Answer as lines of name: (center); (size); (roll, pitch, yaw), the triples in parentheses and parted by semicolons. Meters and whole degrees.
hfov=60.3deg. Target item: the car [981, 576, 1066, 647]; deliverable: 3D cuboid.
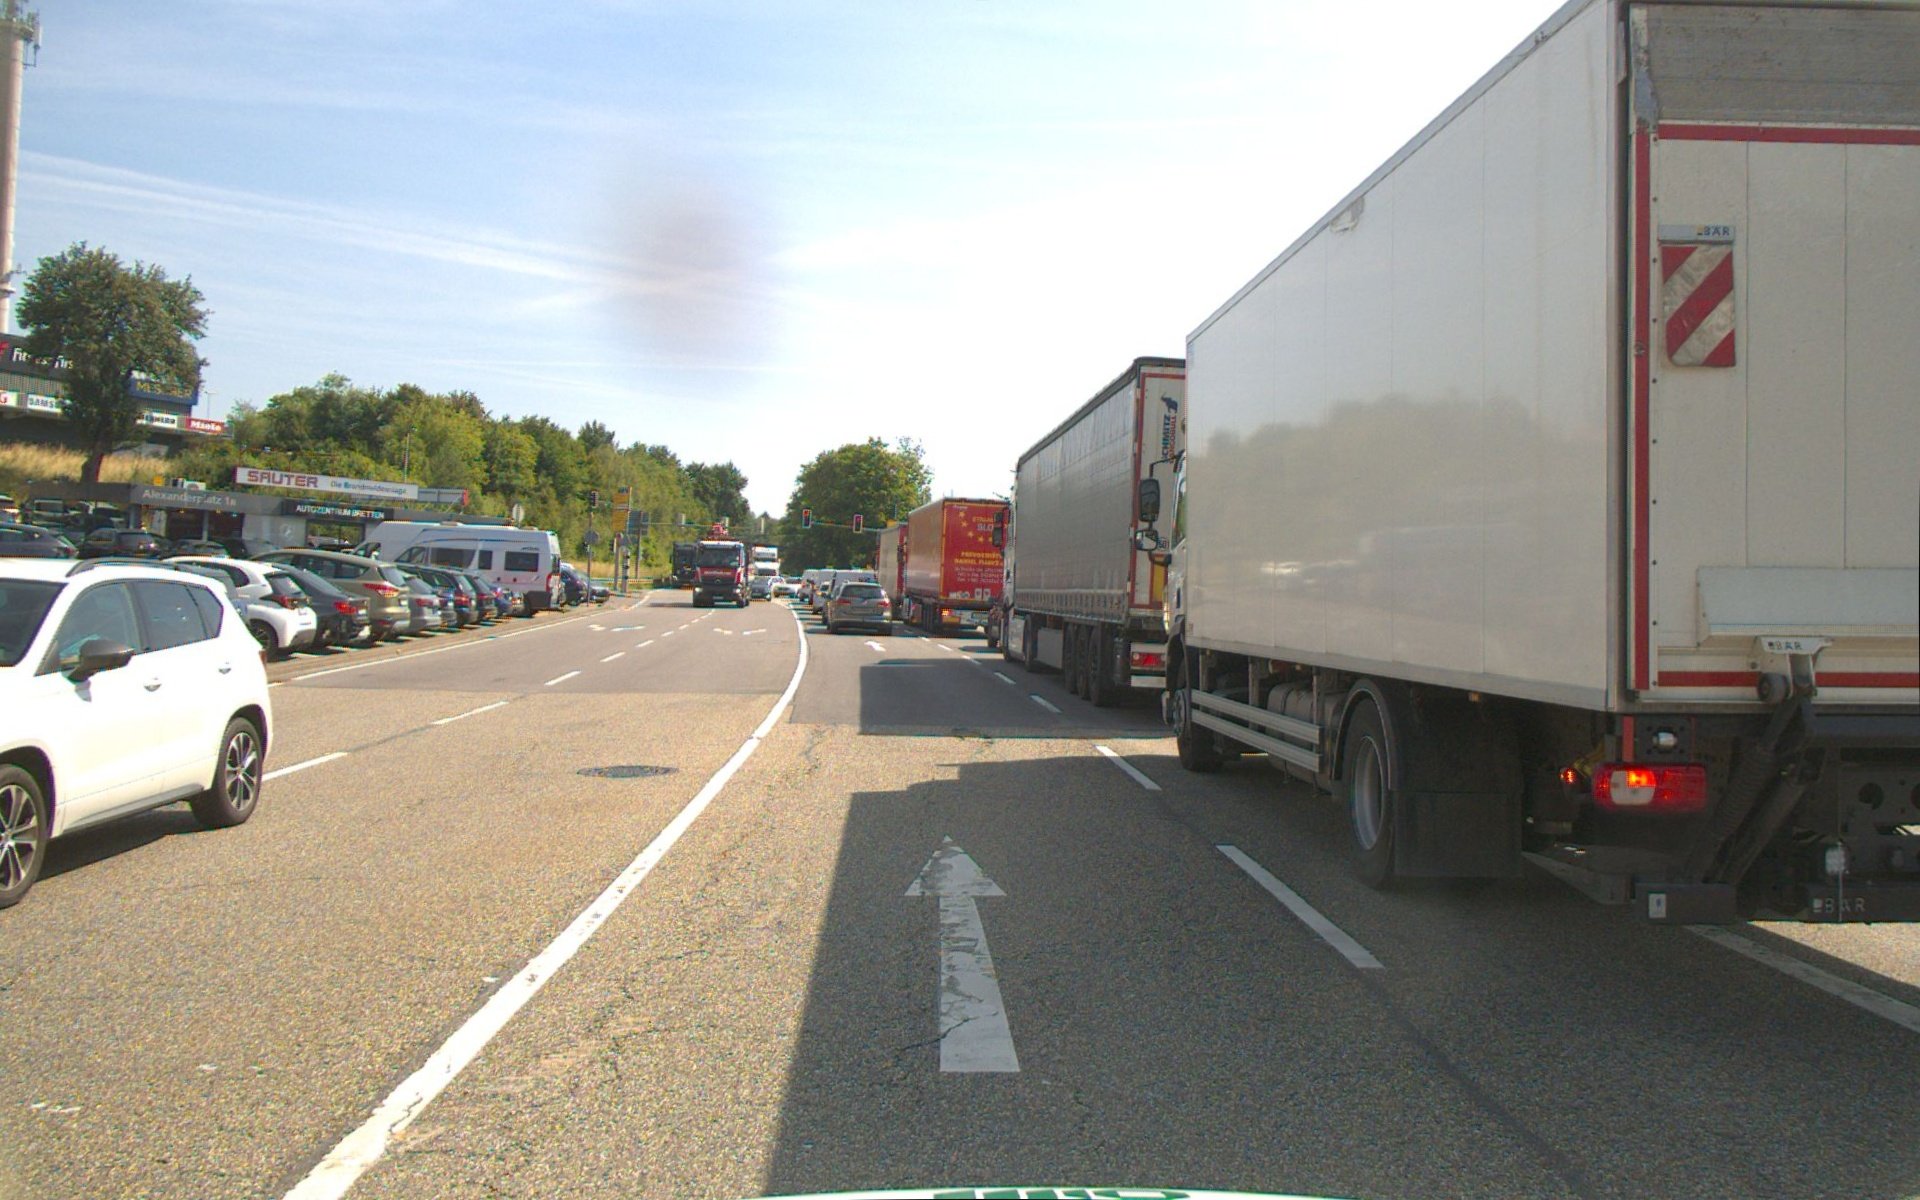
car: (1.607, 0.268, 43.118); (1.783, 1.714, 3.997); (2, 1, -4)

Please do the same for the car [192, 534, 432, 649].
car: (-12.389, -0.158, 31.820); (3.814, 1.746, 1.804); (6, 0, -8)

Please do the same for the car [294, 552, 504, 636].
car: (-13.411, -0.155, 39.740); (4.376, 1.510, 1.769); (6, 0, -8)

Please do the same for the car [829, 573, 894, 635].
car: (-2.810, 0.113, 47.591); (1.754, 1.667, 3.502); (2, 0, -3)

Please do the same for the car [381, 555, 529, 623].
car: (-14.268, -0.311, 46.914); (3.639, 1.510, 1.705); (6, 0, -8)

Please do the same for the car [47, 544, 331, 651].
car: (-12.410, -0.043, 26.836); (3.724, 1.552, 1.844); (2, 0, -8)

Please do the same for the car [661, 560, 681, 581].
car: (-30.158, -3.042, 172.560); (1.958, 2.049, 3.990); (3, 0, -11)

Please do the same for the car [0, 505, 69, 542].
car: (-40.749, -3.359, 72.691); (3.685, 1.476, 1.725); (3, 0, 43)

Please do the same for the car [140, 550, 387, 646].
car: (-12.296, -0.041, 29.401); (3.638, 1.552, 1.789); (2, 0, -8)

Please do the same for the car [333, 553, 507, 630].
car: (-13.626, -0.212, 41.910); (3.773, 1.510, 1.799); (6, 0, -8)

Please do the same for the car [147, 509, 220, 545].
car: (-35.301, -3.330, 75.173); (3.685, 1.476, 1.725); (3, 0, 43)

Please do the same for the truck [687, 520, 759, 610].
truck: (-11.909, -1.734, 83.804); (2.898, 4.282, 10.637); (0, 1, -5)

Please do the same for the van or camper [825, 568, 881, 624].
van or camper: (-4.033, -0.185, 61.966); (1.817, 1.939, 3.779); (3, 0, -7)

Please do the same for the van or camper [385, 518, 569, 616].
van or camper: (-15.201, -1.034, 52.314); (5.143, 2.779, 2.208); (3, 0, -5)

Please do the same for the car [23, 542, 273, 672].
car: (-11.485, 0.081, 23.689); (1.745, 1.519, 3.779); (6, 0, -4)

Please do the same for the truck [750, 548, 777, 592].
truck: (-19.854, -3.021, 167.625); (2.504, 4.382, 7.586); (1, 1, -6)

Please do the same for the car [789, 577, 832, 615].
car: (-6.428, -0.162, 71.293); (1.693, 1.545, 3.309); (3, 0, -4)

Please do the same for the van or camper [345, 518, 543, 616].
van or camper: (-16.955, -1.084, 54.629); (5.779, 2.923, 2.287); (3, 1, -6)

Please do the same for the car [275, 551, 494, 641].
car: (-12.826, -0.091, 37.104); (4.219, 1.510, 1.795); (6, 0, -8)

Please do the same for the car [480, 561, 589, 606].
car: (-16.041, -0.617, 62.488); (3.744, 1.566, 1.840); (2, 0, -7)

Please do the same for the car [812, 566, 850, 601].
car: (-6.240, -0.776, 80.051); (1.693, 1.545, 3.309); (3, 0, -5)

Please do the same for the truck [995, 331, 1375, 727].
truck: (2.720, -0.864, 26.958); (2.833, 4.340, 16.698); (2, 0, -3)

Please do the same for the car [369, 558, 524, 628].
car: (-13.785, -0.209, 44.531); (3.638, 1.582, 1.705); (4, 1, -8)

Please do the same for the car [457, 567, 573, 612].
car: (-16.021, -0.396, 59.721); (3.744, 1.473, 1.840); (2, 0, -7)

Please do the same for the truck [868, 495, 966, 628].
truck: (-2.238, -1.706, 76.543); (3.004, 5.311, 16.986); (3, 0, -6)

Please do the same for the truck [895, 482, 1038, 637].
truck: (-0.122, -1.278, 55.968); (2.900, 4.344, 16.564); (3, 0, -6)

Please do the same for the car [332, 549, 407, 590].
car: (-24.424, -1.269, 68.361); (1.751, 1.616, 3.776); (2, 1, -39)

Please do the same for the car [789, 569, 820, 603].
car: (-9.617, -0.856, 102.293); (1.692, 1.942, 3.310); (3, 0, -3)

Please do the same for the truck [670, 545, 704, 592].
truck: (-23.677, -2.725, 143.253); (2.761, 3.852, 6.974); (1, 1, -10)

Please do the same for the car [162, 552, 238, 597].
car: (-29.184, -0.980, 63.465); (1.751, 1.616, 3.776); (2, 1, -39)

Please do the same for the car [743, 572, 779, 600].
car: (-11.969, -0.858, 99.766); (1.770, 1.587, 4.385); (2, 1, -3)

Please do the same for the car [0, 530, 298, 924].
car: (-5.169, 0.529, 8.722); (1.897, 1.703, 3.998); (1, 0, -3)

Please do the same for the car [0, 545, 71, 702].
car: (-10.842, 0.209, 16.648); (1.744, 1.646, 3.997); (3, 0, -4)

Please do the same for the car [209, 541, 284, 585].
car: (-28.225, -1.481, 65.386); (1.751, 1.616, 3.776); (2, 1, -39)

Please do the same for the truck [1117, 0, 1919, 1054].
truck: (3.275, -0.480, 11.011); (2.822, 3.877, 11.136); (2, 0, -2)

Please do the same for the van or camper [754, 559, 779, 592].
van or camper: (-18.014, -2.229, 154.238); (2.181, 2.890, 5.703); (3, 0, -6)

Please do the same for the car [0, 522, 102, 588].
car: (-23.991, -1.160, 41.956); (3.894, 1.559, 1.752); (2, 0, -29)

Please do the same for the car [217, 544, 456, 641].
car: (-12.850, -0.159, 34.313); (4.198, 1.510, 1.833); (6, 0, -8)

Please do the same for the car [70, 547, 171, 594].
car: (-31.438, -1.097, 61.914); (3.751, 1.616, 1.763); (2, 0, 34)
